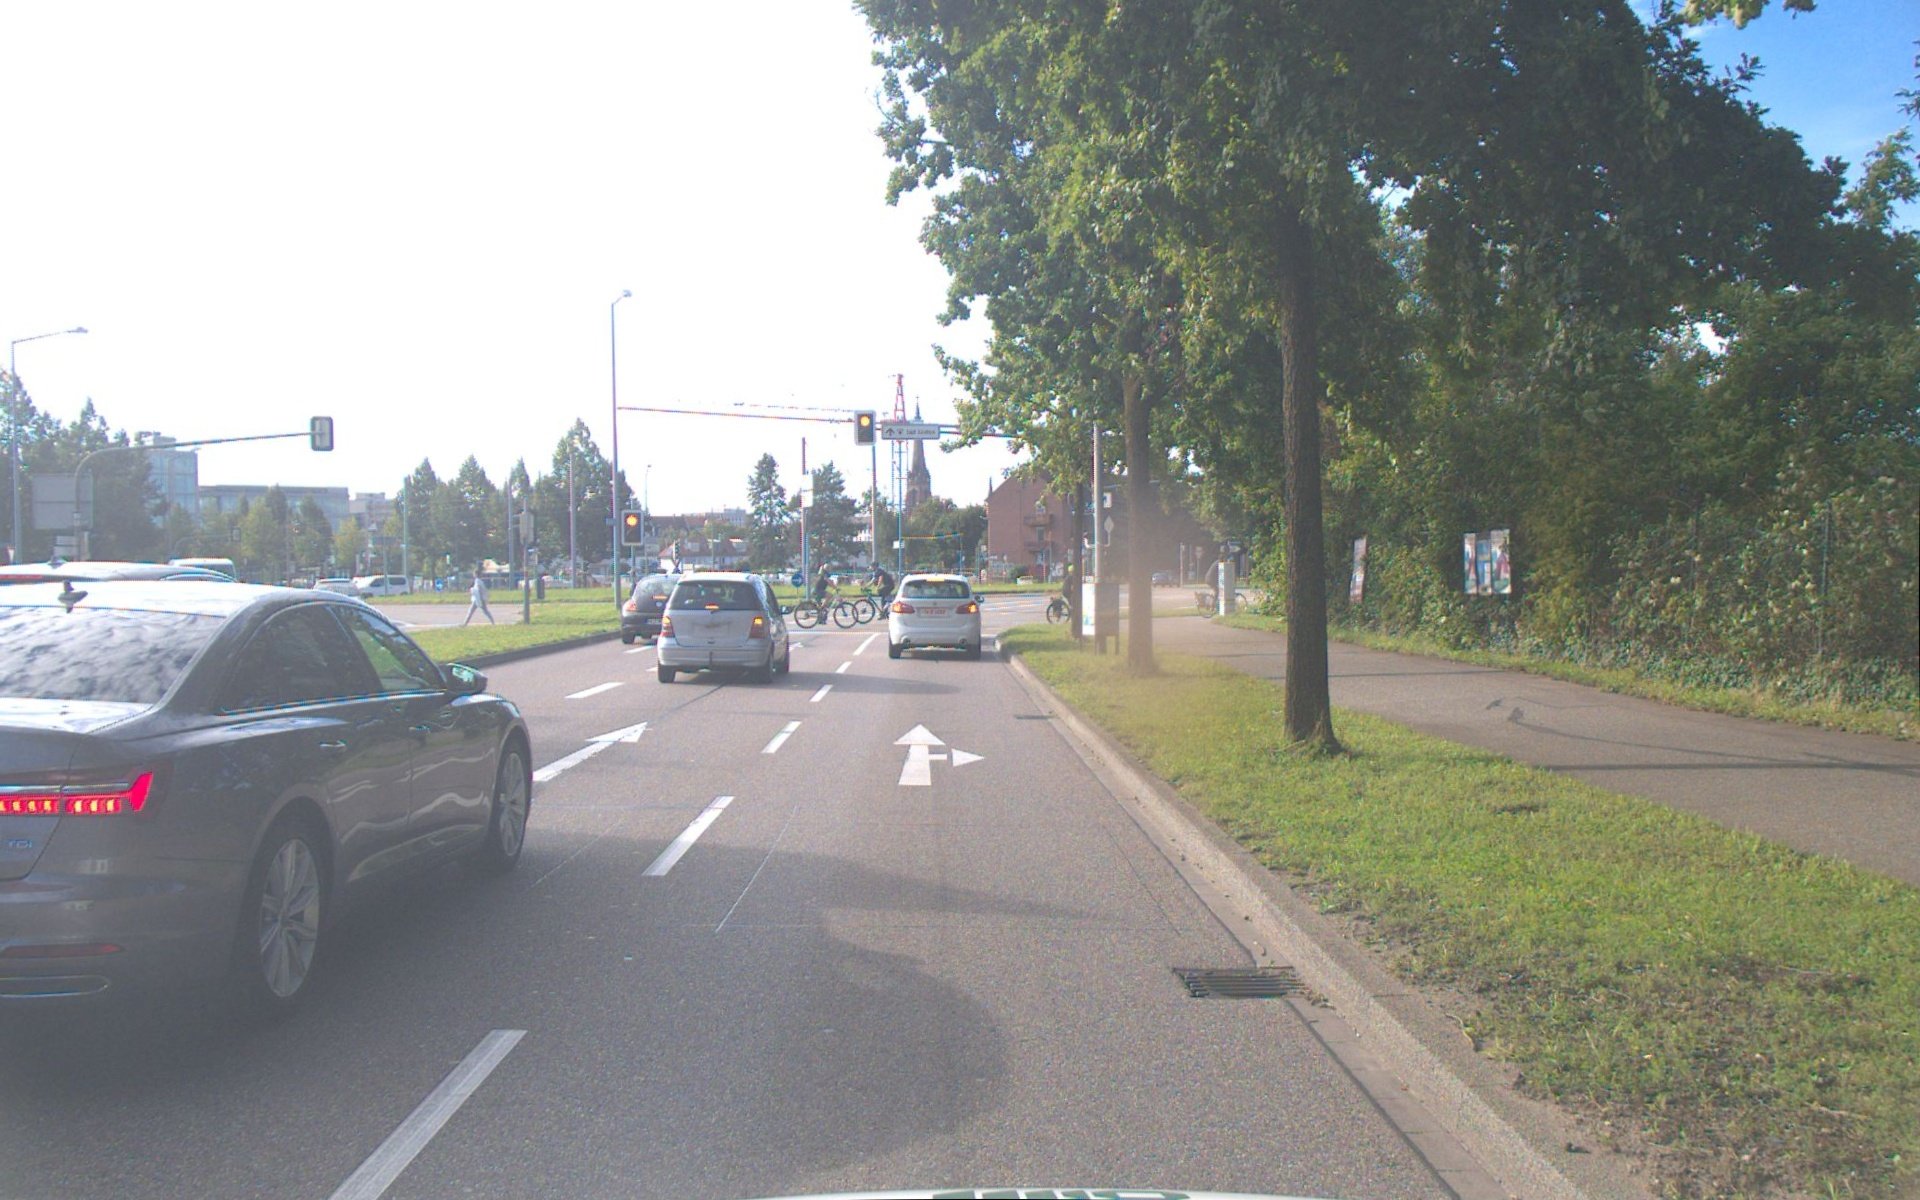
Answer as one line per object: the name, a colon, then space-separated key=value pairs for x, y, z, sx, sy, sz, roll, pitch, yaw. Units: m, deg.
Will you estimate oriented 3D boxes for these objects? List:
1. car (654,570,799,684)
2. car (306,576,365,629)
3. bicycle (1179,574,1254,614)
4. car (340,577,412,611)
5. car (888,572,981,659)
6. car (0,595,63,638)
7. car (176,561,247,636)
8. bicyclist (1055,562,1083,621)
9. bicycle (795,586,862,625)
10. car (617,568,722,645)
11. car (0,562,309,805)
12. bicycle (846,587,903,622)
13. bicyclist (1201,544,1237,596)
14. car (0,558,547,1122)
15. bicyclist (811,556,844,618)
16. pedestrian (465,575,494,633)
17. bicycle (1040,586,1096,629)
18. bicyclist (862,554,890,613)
car: x=-3.463 y=0.347 z=25.148 sx=1.694 sy=1.585 sz=4.057 roll=0 pitch=1 yaw=-1
car: x=-20.673 y=0.075 z=54.772 sx=1.681 sy=1.600 sz=3.975 roll=-3 pitch=1 yaw=-21
bicycle: x=7.676 y=-0.185 z=49.497 sx=2.005 sy=1.140 sz=0.887 roll=-1 pitch=0 yaw=-16
car: x=-36.890 y=-0.406 z=104.630 sx=1.786 sy=2.049 sz=4.233 roll=-2 pitch=0 yaw=26
car: x=-0.526 y=0.253 z=32.527 sx=1.694 sy=1.585 sz=4.057 roll=0 pitch=1 yaw=-2
car: x=-37.942 y=0.707 z=66.434 sx=3.162 sy=1.601 sz=1.555 roll=-3 pitch=0 yaw=-35
car: x=-25.073 y=-0.054 z=55.462 sx=1.968 sy=2.274 sz=5.879 roll=-3 pitch=1 yaw=-24
bicyclist: x=3.145 y=-0.244 z=47.814 sx=0.753 sy=1.676 sz=0.535 roll=-1 pitch=2 yaw=-2
bicycle: x=-3.617 y=0.149 z=45.483 sx=1.740 sy=1.068 sz=0.708 roll=0 pitch=0 yaw=-14
car: x=-6.388 y=0.098 z=36.733 sx=1.686 sy=1.592 sz=3.877 roll=1 pitch=1 yaw=-1
car: x=-6.637 y=0.511 z=12.764 sx=1.694 sy=1.585 sz=4.018 roll=0 pitch=1 yaw=-1
bicycle: x=-2.525 y=0.134 z=48.846 sx=1.642 sy=0.984 sz=0.643 roll=-1 pitch=1 yaw=-7
bicyclist: x=7.749 y=-0.887 z=49.535 sx=0.807 sy=1.515 sz=0.759 roll=-1 pitch=0 yaw=-15
car: x=-3.122 y=0.616 z=6.702 sx=1.852 sy=1.508 sz=4.611 roll=0 pitch=1 yaw=-2
bicyclist: x=-3.640 y=-0.358 z=45.478 sx=0.815 sy=1.676 sz=0.683 roll=0 pitch=0 yaw=-14
pedestrian: x=-13.516 y=0.108 z=46.568 sx=0.642 sy=1.596 sz=0.615 roll=-1 pitch=0 yaw=-5
bicycle: x=3.112 y=0.208 z=47.823 sx=1.587 sy=1.239 sz=0.490 roll=0 pitch=0 yaw=-2
bicyclist: x=-2.482 y=-0.490 z=48.848 sx=0.773 sy=1.697 sz=0.549 roll=-1 pitch=0 yaw=-6
